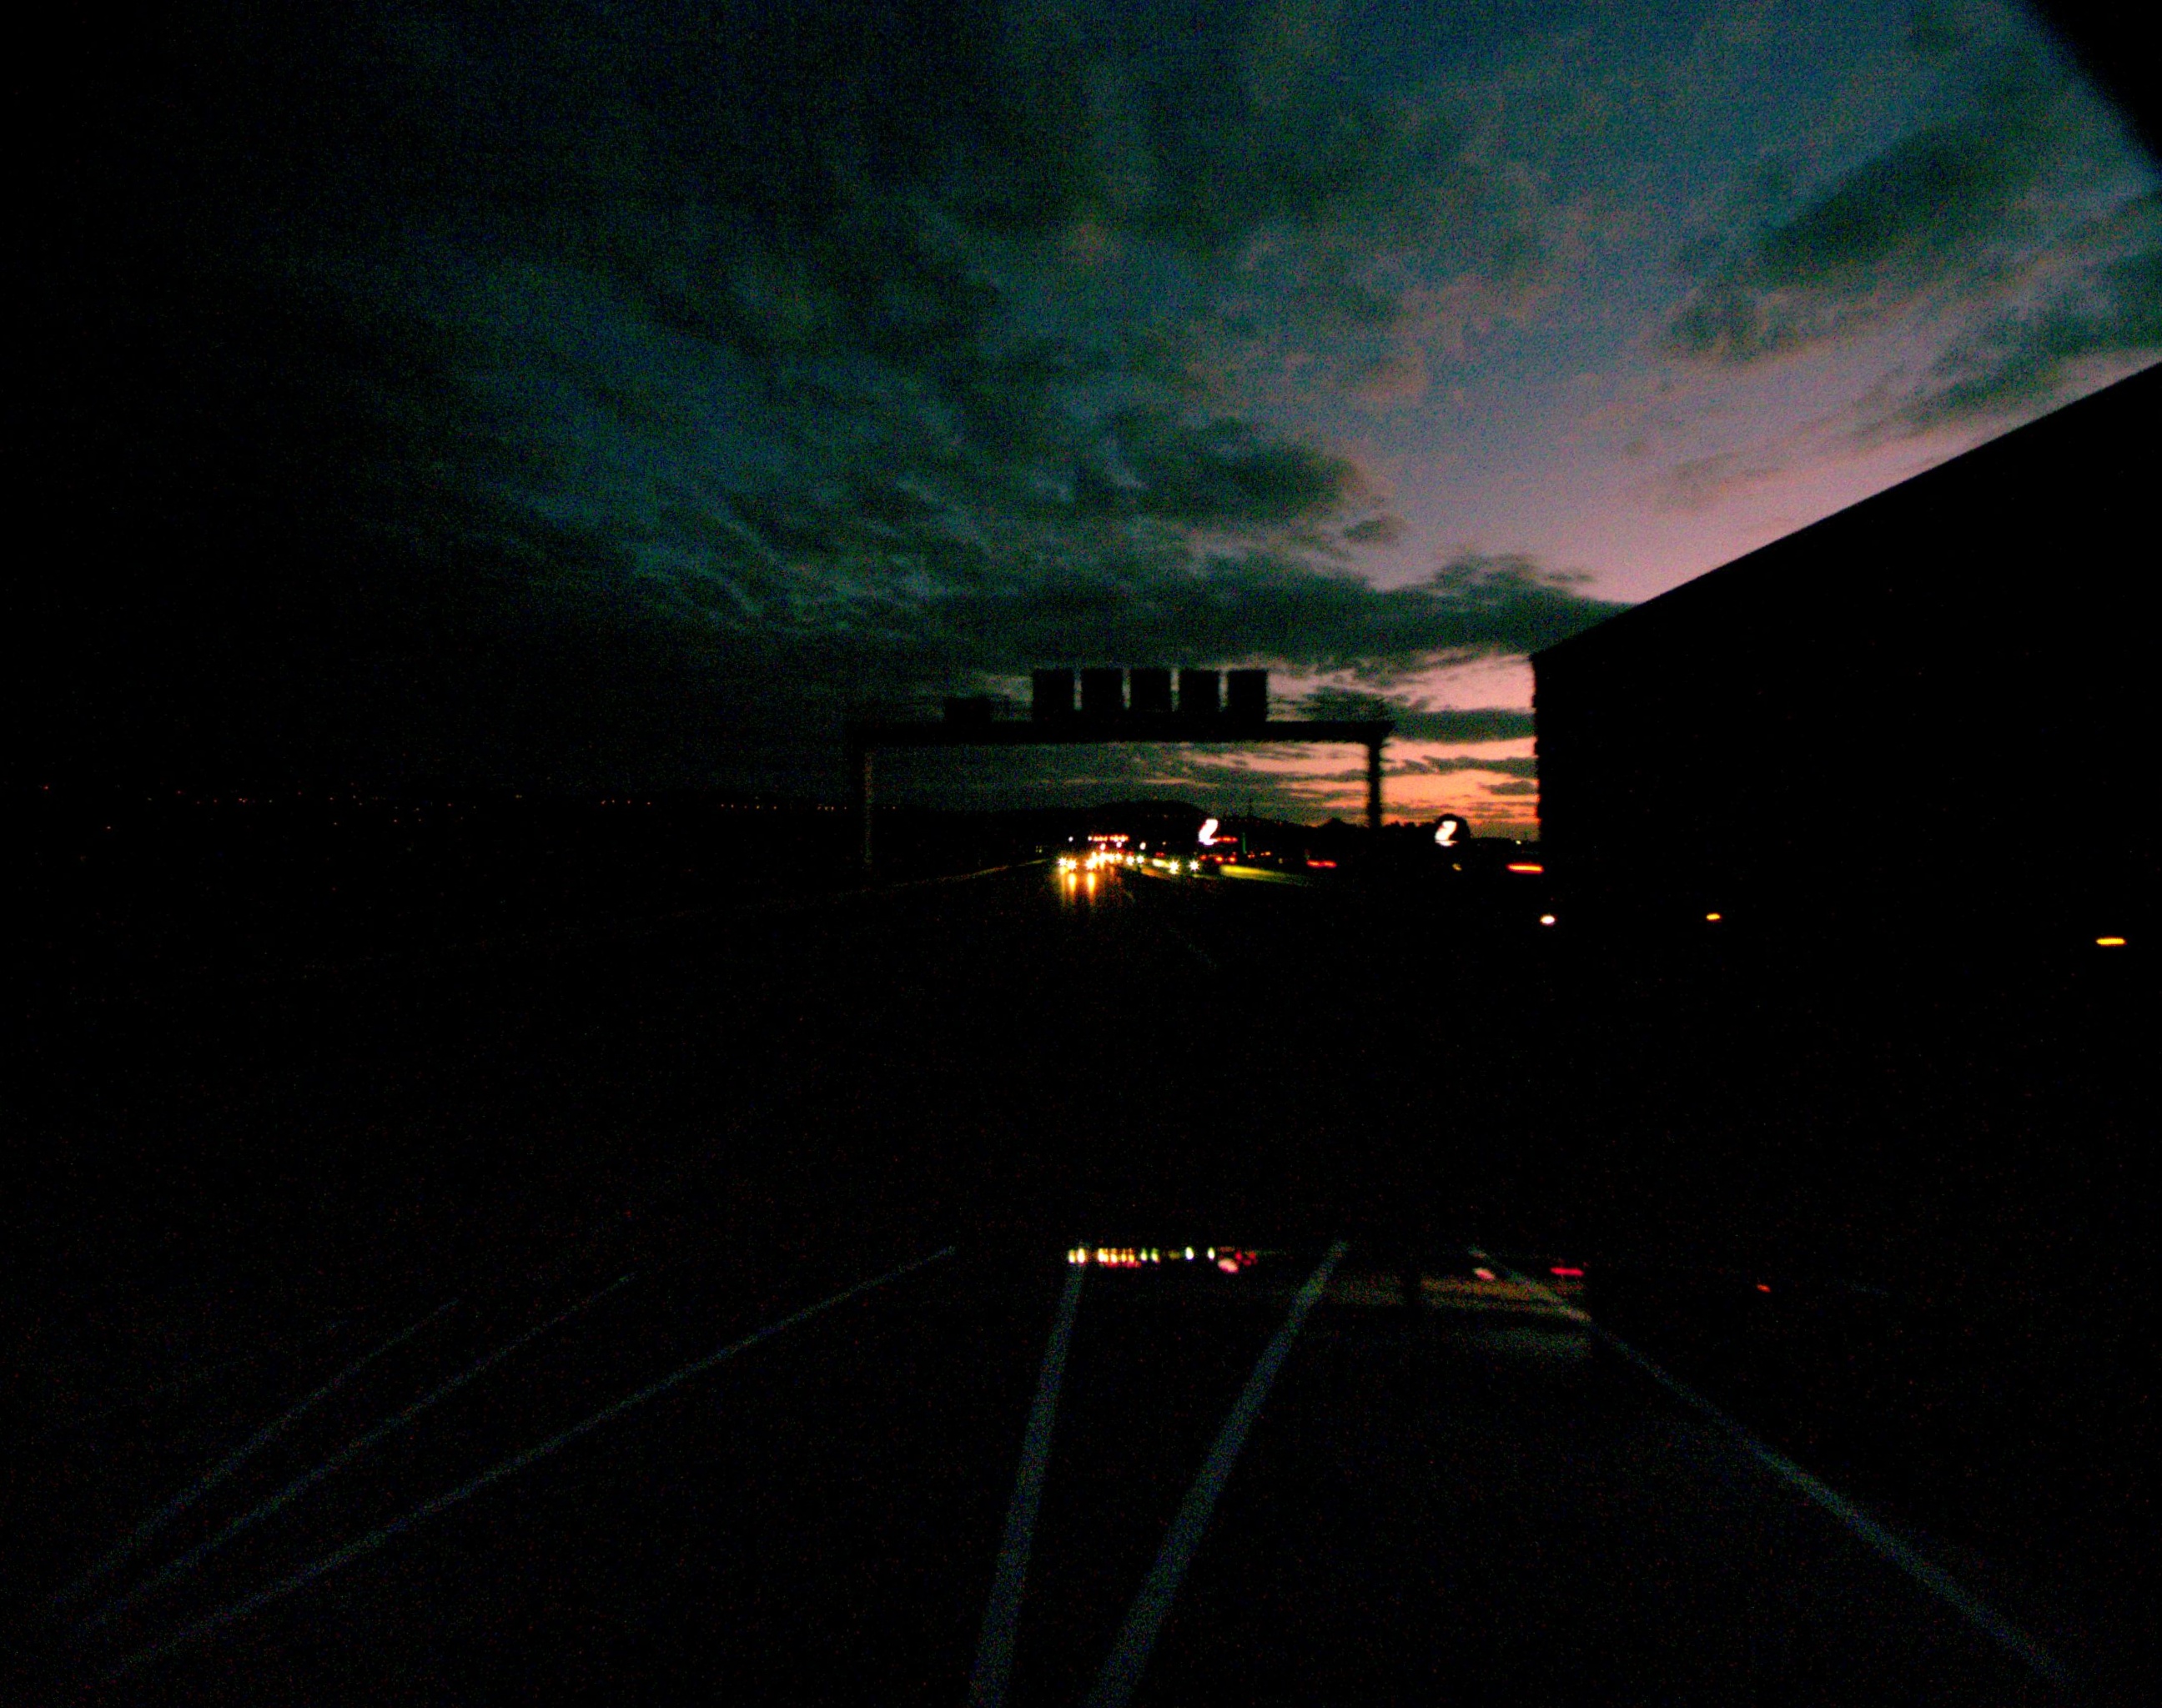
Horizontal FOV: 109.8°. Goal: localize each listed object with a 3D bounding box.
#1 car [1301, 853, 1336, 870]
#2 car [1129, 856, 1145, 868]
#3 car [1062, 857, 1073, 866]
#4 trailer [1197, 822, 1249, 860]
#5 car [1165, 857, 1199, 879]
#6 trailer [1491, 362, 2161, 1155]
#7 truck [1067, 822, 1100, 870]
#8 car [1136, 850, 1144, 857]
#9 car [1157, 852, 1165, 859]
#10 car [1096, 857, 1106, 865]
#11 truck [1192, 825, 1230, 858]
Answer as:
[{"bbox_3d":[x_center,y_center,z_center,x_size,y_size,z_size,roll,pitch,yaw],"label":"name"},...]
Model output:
[{"bbox_3d":[20.031,0.597,64.299,1.736,1.281,4.000,-2,0,1],"label":"car"},{"bbox_3d":[8.172,1.165,110.739,1.819,1.638,4.856,-2,0,0],"label":"car"},{"bbox_3d":[-2.045,1.112,117.772,1.513,1.247,4.000,-2,0,1],"label":"car"},{"bbox_3d":[24.003,-2.162,130.495,5.317,5.752,19.212,-2,0,1],"label":"trailer"},{"bbox_3d":[7.715,1.046,58.643,1.819,1.429,5.394,-2,0,0],"label":"car"},{"bbox_3d":[6.929,-0.495,3.079,2.801,4.061,14.524,-1,0,1],"label":"trailer"},{"bbox_3d":[0.258,-0.716,80.241,3.012,4.570,12.578,-2,0,0],"label":"truck"},{"bbox_3d":[18.322,-0.178,235.282,1.998,2.002,4.000,-2,1,1],"label":"car"},{"bbox_3d":[24.576,0.448,232.116,1.998,2.002,4.000,-2,1,1],"label":"car"},{"bbox_3d":[4.085,1.331,153.335,1.802,1.531,4.159,-2,0,0],"label":"car"},{"bbox_3d":[24.121,-2.241,141.712,5.332,5.757,9.643,-2,1,1],"label":"truck"}]
